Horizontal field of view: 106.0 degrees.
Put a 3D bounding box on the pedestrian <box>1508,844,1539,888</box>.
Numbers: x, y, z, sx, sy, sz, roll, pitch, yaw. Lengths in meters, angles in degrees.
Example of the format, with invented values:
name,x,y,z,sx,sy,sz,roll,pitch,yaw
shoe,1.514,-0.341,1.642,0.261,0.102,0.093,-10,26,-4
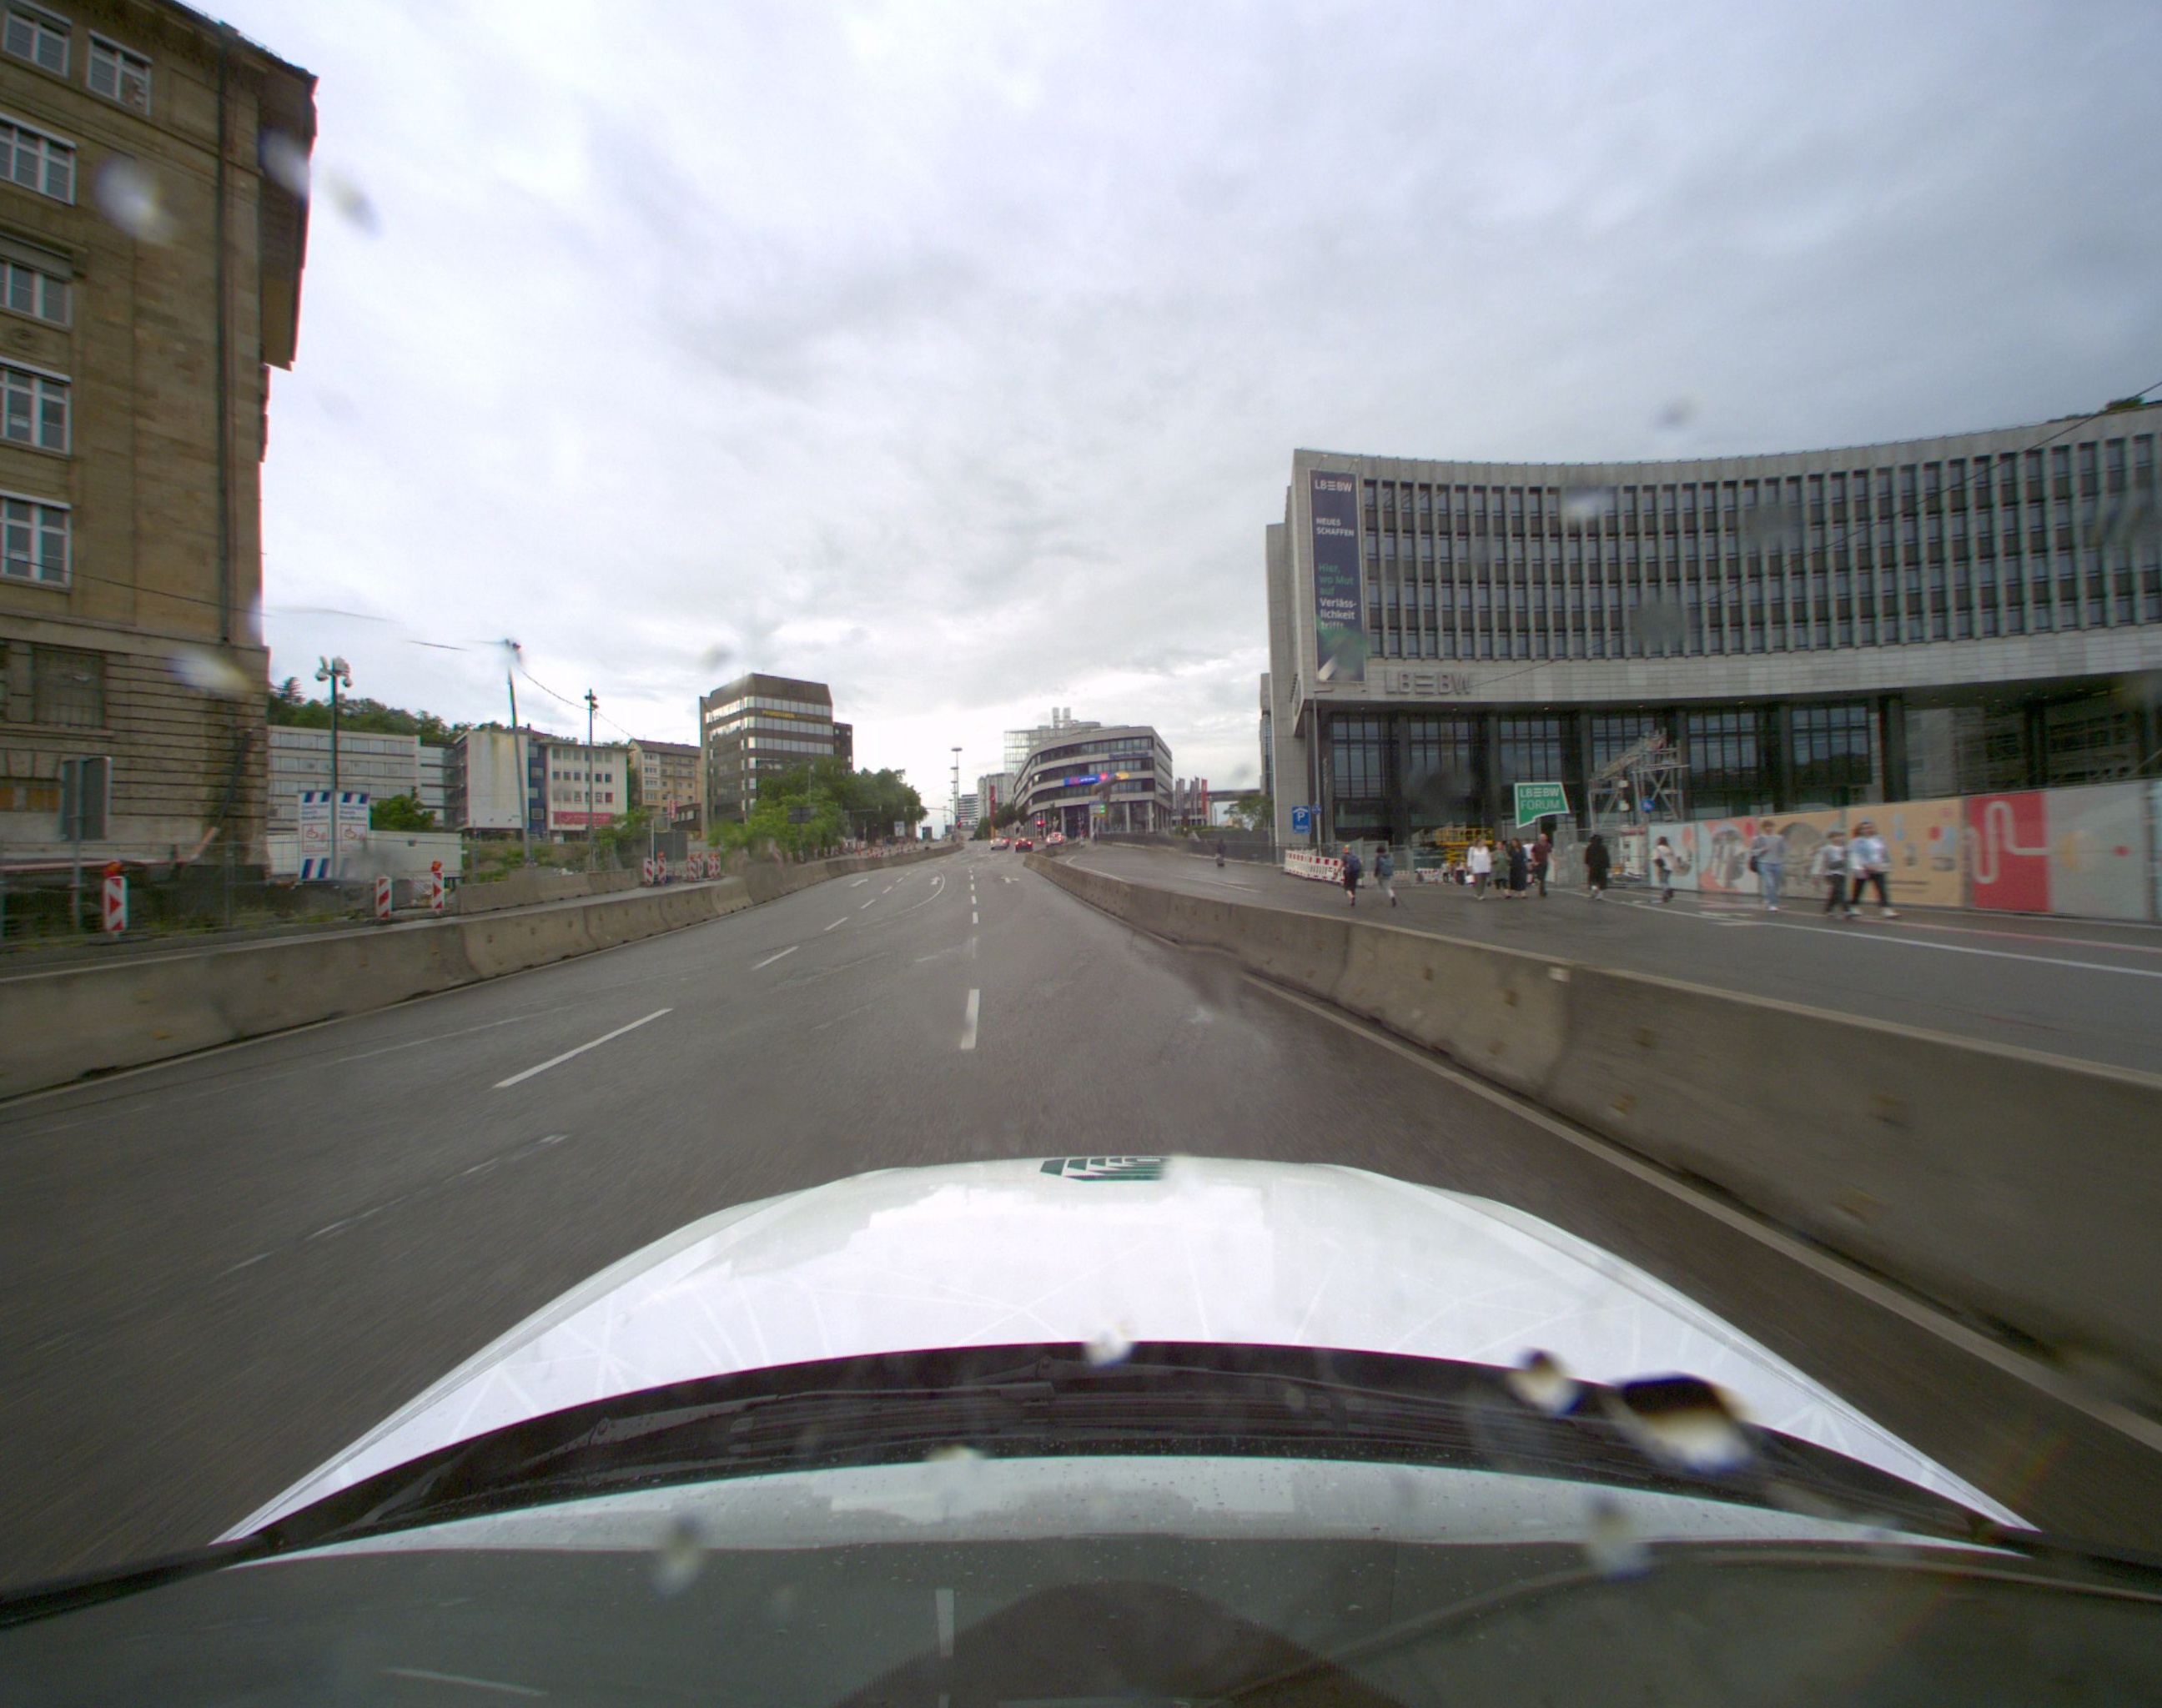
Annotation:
name,x,y,z,sx,sy,sz,roll,pitch,yaw
pedestrian,16.962,0.471,31.219,0.859,1.637,1.013,-2,-1,21

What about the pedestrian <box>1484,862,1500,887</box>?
name,x,y,z,sx,sy,sz,roll,pitch,yaw
pedestrian,27.401,1.379,54.271,0.858,1.637,1.014,-2,-1,26

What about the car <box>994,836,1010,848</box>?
name,x,y,z,sx,sy,sz,roll,pitch,yaw
car,-10.085,-1.536,103.843,1.740,1.443,3.986,-2,1,-11

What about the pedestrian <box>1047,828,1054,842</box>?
name,x,y,z,sx,sy,sz,roll,pitch,yaw
pedestrian,-4.600,-2.825,122.824,0.858,2.098,0.895,0,1,-31

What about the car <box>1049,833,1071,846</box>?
name,x,y,z,sx,sy,sz,roll,pitch,yaw
car,-2.725,-1.919,107.009,1.759,1.634,4.597,-1,2,12

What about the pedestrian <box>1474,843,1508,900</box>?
name,x,y,z,sx,sy,sz,roll,pitch,yaw
pedestrian,11.415,0.482,22.690,0.605,1.522,0.888,-2,-1,11

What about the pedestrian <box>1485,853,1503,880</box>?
name,x,y,z,sx,sy,sz,roll,pitch,yaw
pedestrian,25.425,0.793,50.180,0.657,1.637,0.732,-1,-1,-39

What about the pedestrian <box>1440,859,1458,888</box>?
name,x,y,z,sx,sy,sz,roll,pitch,yaw
pedestrian,21.434,1.156,47.442,0.859,1.637,1.013,-2,-1,21

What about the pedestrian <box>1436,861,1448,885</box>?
name,x,y,z,sx,sy,sz,roll,pitch,yaw
pedestrian,25.170,1.319,56.727,0.697,1.616,0.569,-2,-1,24

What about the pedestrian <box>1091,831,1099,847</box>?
name,x,y,z,sx,sy,sz,roll,pitch,yaw
pedestrian,1.603,-1.692,90.875,0.729,1.711,0.840,-2,-1,-9

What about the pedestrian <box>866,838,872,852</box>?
name,x,y,z,sx,sy,sz,roll,pitch,yaw
pedestrian,-31.329,-1.331,120.171,0.671,1.901,0.774,-2,-1,-6

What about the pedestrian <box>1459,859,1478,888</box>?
name,x,y,z,sx,sy,sz,roll,pitch,yaw
pedestrian,22.366,1.140,47.039,0.859,1.637,1.013,-2,-1,21

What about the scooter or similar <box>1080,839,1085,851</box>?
name,x,y,z,sx,sy,sz,roll,pitch,yaw
scooter or similar,0.169,-0.950,84.712,0.347,1.162,0.574,-2,0,7

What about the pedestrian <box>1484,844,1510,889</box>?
name,x,y,z,sx,sy,sz,roll,pitch,yaw
pedestrian,16.612,0.493,32.506,0.764,1.783,1.013,-2,-1,21

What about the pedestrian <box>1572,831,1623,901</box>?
name,x,y,z,sx,sy,sz,roll,pitch,yaw
pedestrian,13.334,0.307,21.053,0.859,1.725,1.013,-2,-1,21

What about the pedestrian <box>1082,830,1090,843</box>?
name,x,y,z,sx,sy,sz,roll,pitch,yaw
pedestrian,0.774,-2.541,119.306,0.834,1.904,0.865,-2,-1,17

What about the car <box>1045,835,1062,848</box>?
name,x,y,z,sx,sy,sz,roll,pitch,yaw
car,-3.267,-1.510,96.179,1.699,1.451,4.606,-1,1,-6

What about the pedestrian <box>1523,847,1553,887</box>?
name,x,y,z,sx,sy,sz,roll,pitch,yaw
pedestrian,18.214,0.508,32.502,0.859,1.553,1.013,-2,-1,21

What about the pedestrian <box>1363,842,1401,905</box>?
name,x,y,z,sx,sy,sz,roll,pitch,yaw
pedestrian,7.824,0.498,21.209,0.853,1.593,0.957,-2,-1,19

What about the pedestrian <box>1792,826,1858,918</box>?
name,x,y,z,sx,sy,sz,roll,pitch,yaw
pedestrian,13.066,0.313,14.330,0.641,1.553,0.770,-2,-1,28

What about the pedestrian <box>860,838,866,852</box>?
name,x,y,z,sx,sy,sz,roll,pitch,yaw
pedestrian,-32.178,-1.320,120.112,0.760,1.922,0.740,-2,-1,-6

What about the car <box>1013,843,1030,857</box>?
name,x,y,z,sx,sy,sz,roll,pitch,yaw
car,-6.334,-0.450,86.700,1.752,1.407,4.220,0,0,-5

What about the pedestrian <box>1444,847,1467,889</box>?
name,x,y,z,sx,sy,sz,roll,pitch,yaw
pedestrian,15.147,0.559,32.937,0.718,1.637,0.921,-2,-1,21

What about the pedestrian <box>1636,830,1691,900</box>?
name,x,y,z,sx,sy,sz,roll,pitch,yaw
pedestrian,14.740,0.277,20.640,0.859,1.689,1.013,-2,-1,21

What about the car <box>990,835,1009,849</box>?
name,x,y,z,sx,sy,sz,roll,pitch,yaw
car,-9.463,-1.421,94.992,1.960,1.548,4.214,-2,2,-3

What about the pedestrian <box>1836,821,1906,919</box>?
name,x,y,z,sx,sy,sz,roll,pitch,yaw
pedestrian,13.802,0.273,14.259,0.641,1.655,0.770,-2,-1,28

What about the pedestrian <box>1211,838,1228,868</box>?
name,x,y,z,sx,sy,sz,roll,pitch,yaw
pedestrian,7.817,-0.048,45.831,0.723,1.652,1.066,-2,0,19

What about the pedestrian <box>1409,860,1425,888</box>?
name,x,y,z,sx,sy,sz,roll,pitch,yaw
pedestrian,19.632,1.172,47.574,0.580,1.637,0.757,-2,-1,40

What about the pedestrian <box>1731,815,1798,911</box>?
name,x,y,z,sx,sy,sz,roll,pitch,yaw
pedestrian,13.692,0.181,16.344,0.810,1.849,0.937,-2,-1,28

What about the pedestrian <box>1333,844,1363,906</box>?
name,x,y,z,sx,sy,sz,roll,pitch,yaw
pedestrian,6.942,0.538,21.149,0.726,1.575,0.809,0,0,19

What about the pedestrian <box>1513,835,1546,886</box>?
name,x,y,z,sx,sy,sz,roll,pitch,yaw
pedestrian,16.353,0.239,29.716,0.859,1.781,1.013,-2,-1,21

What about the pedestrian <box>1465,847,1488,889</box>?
name,x,y,z,sx,sy,sz,roll,pitch,yaw
pedestrian,15.780,0.547,32.494,0.692,1.637,0.921,-2,-1,21

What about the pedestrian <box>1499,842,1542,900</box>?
name,x,y,z,sx,sy,sz,roll,pitch,yaw
pedestrian,12.091,0.457,22.429,0.709,1.553,1.011,-2,-1,11

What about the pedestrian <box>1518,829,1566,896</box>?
name,x,y,z,sx,sy,sz,roll,pitch,yaw
pedestrian,13.052,0.244,23.095,0.860,1.818,1.011,-2,-1,11

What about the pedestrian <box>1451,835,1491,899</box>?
name,x,y,z,sx,sy,sz,roll,pitch,yaw
pedestrian,10.802,0.348,22.581,0.772,1.723,0.894,-2,-1,11
